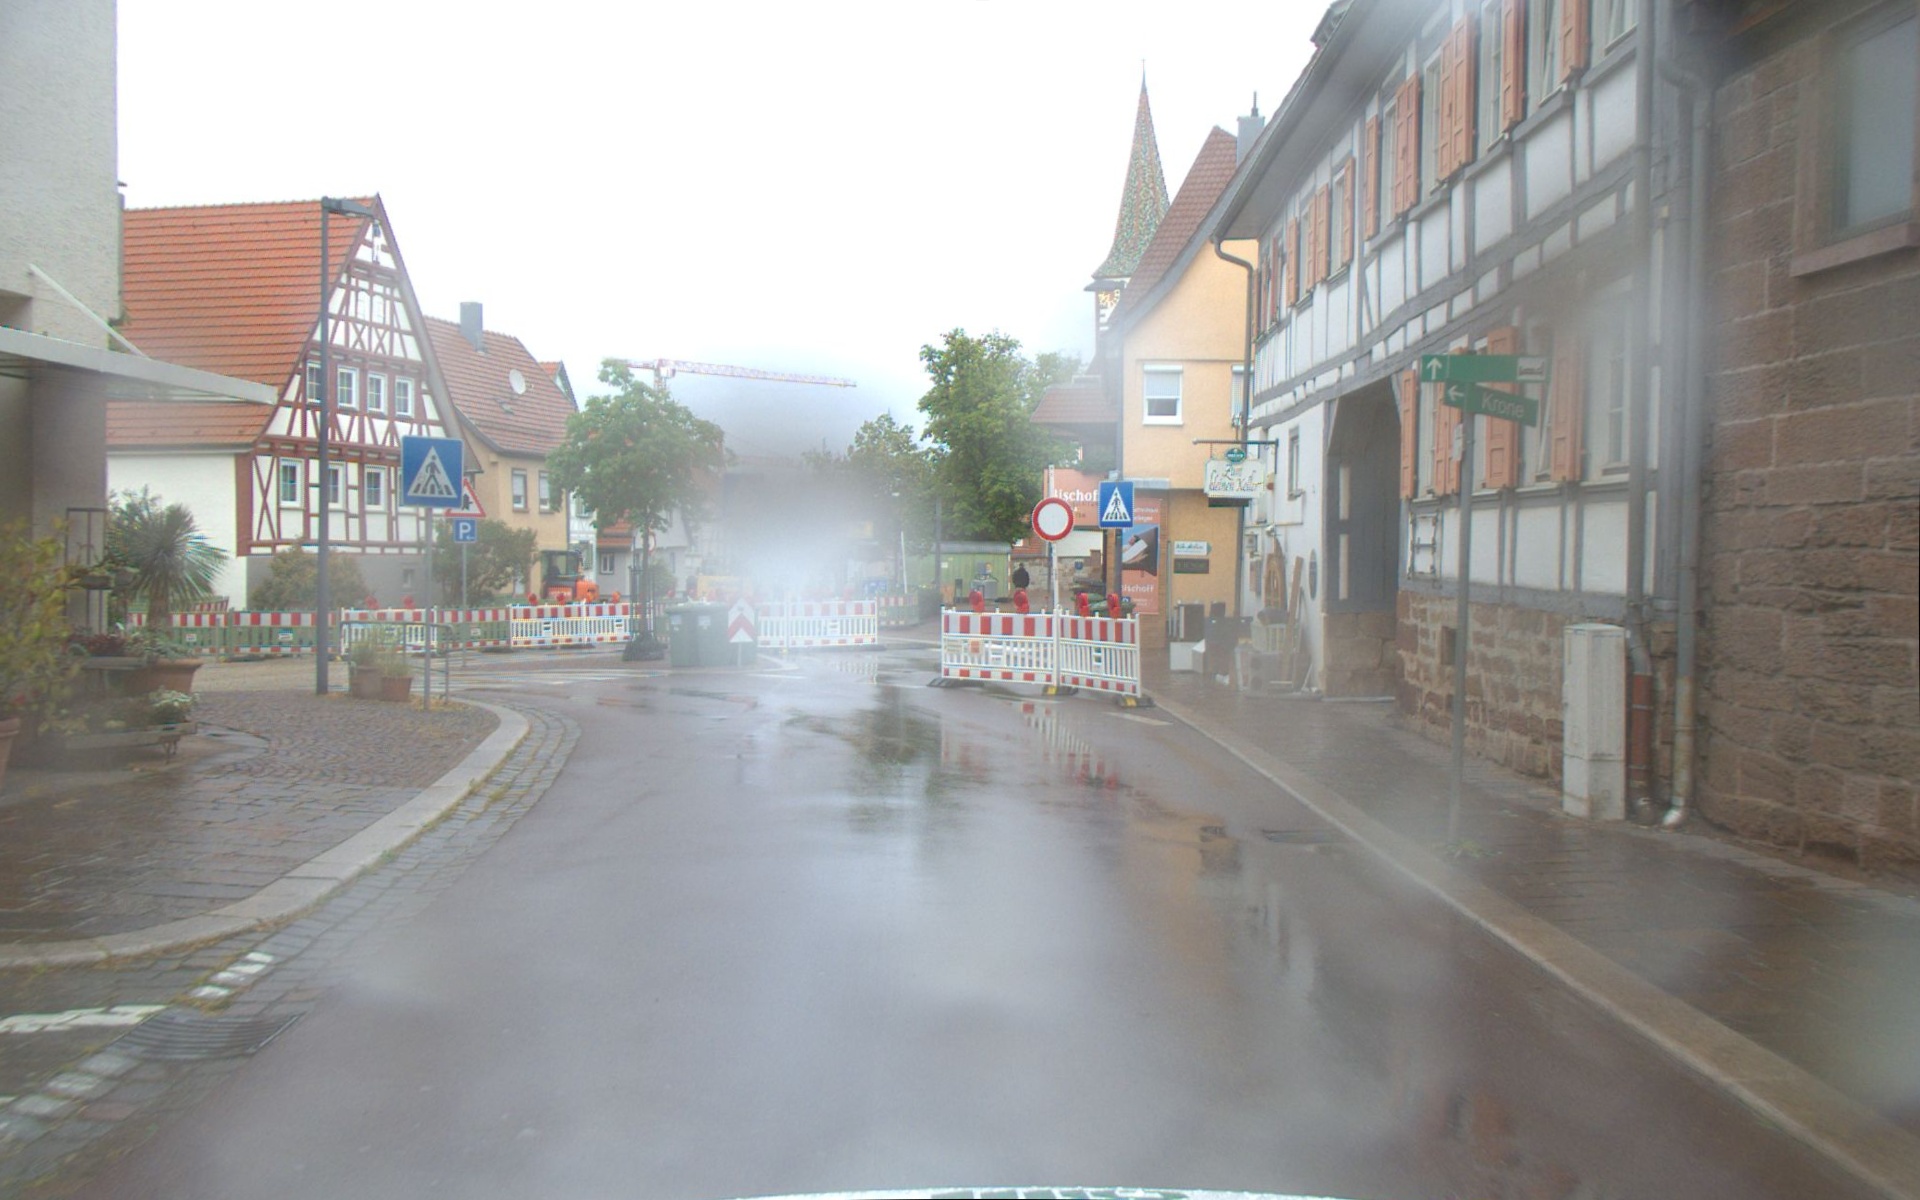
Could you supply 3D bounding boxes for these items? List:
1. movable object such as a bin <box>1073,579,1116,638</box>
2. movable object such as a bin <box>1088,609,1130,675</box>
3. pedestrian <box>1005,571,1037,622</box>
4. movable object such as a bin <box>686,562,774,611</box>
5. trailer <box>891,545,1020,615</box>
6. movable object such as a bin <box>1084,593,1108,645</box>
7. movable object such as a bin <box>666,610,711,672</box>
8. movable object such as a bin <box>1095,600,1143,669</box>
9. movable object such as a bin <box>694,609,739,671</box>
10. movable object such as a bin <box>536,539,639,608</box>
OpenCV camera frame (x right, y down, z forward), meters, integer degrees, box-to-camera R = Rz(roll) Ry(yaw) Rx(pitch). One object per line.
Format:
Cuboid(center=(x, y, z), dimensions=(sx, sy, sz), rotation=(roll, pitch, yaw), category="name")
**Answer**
Cuboid(center=(3.633, 0.219, 44.672), dimensions=(1.042, 1.539, 1.243), rotation=(-2, 0, 7), category="movable object such as a bin")
Cuboid(center=(2.482, 0.690, 27.529), dimensions=(0.603, 1.084, 0.540), rotation=(-1, -1, 16), category="movable object such as a bin")
Cuboid(center=(2.162, -0.122, 58.842), dimensions=(0.971, 1.789, 0.850), rotation=(1, 0, -6), category="pedestrian")
Cuboid(center=(-10.165, -0.573, 73.423), dimensions=(3.332, 2.049, 3.479), rotation=(1, 0, 1), category="movable object such as a bin")
Cuboid(center=(-0.252, -0.905, 75.257), dimensions=(5.669, 2.999, 1.998), rotation=(1, 0, -6), category="trailer")
Cuboid(center=(3.116, 0.433, 37.948), dimensions=(0.507, 1.151, 0.580), rotation=(-2, 1, 3), category="movable object such as a bin")
Cuboid(center=(-4.682, 0.700, 28.526), dimensions=(0.530, 1.055, 0.570), rotation=(-1, -2, 33), category="movable object such as a bin")
Cuboid(center=(2.577, 0.555, 26.819), dimensions=(0.666, 1.084, 0.539), rotation=(-1, 1, -7), category="movable object such as a bin")
Cuboid(center=(-4.146, 0.680, 28.197), dimensions=(0.533, 1.051, 0.533), rotation=(-2, -2, 33), category="movable object such as a bin")
Cuboid(center=(-11.841, -0.806, 52.812), dimensions=(1.864, 2.049, 4.003), rotation=(-1, 0, 8), category="movable object such as a bin")
